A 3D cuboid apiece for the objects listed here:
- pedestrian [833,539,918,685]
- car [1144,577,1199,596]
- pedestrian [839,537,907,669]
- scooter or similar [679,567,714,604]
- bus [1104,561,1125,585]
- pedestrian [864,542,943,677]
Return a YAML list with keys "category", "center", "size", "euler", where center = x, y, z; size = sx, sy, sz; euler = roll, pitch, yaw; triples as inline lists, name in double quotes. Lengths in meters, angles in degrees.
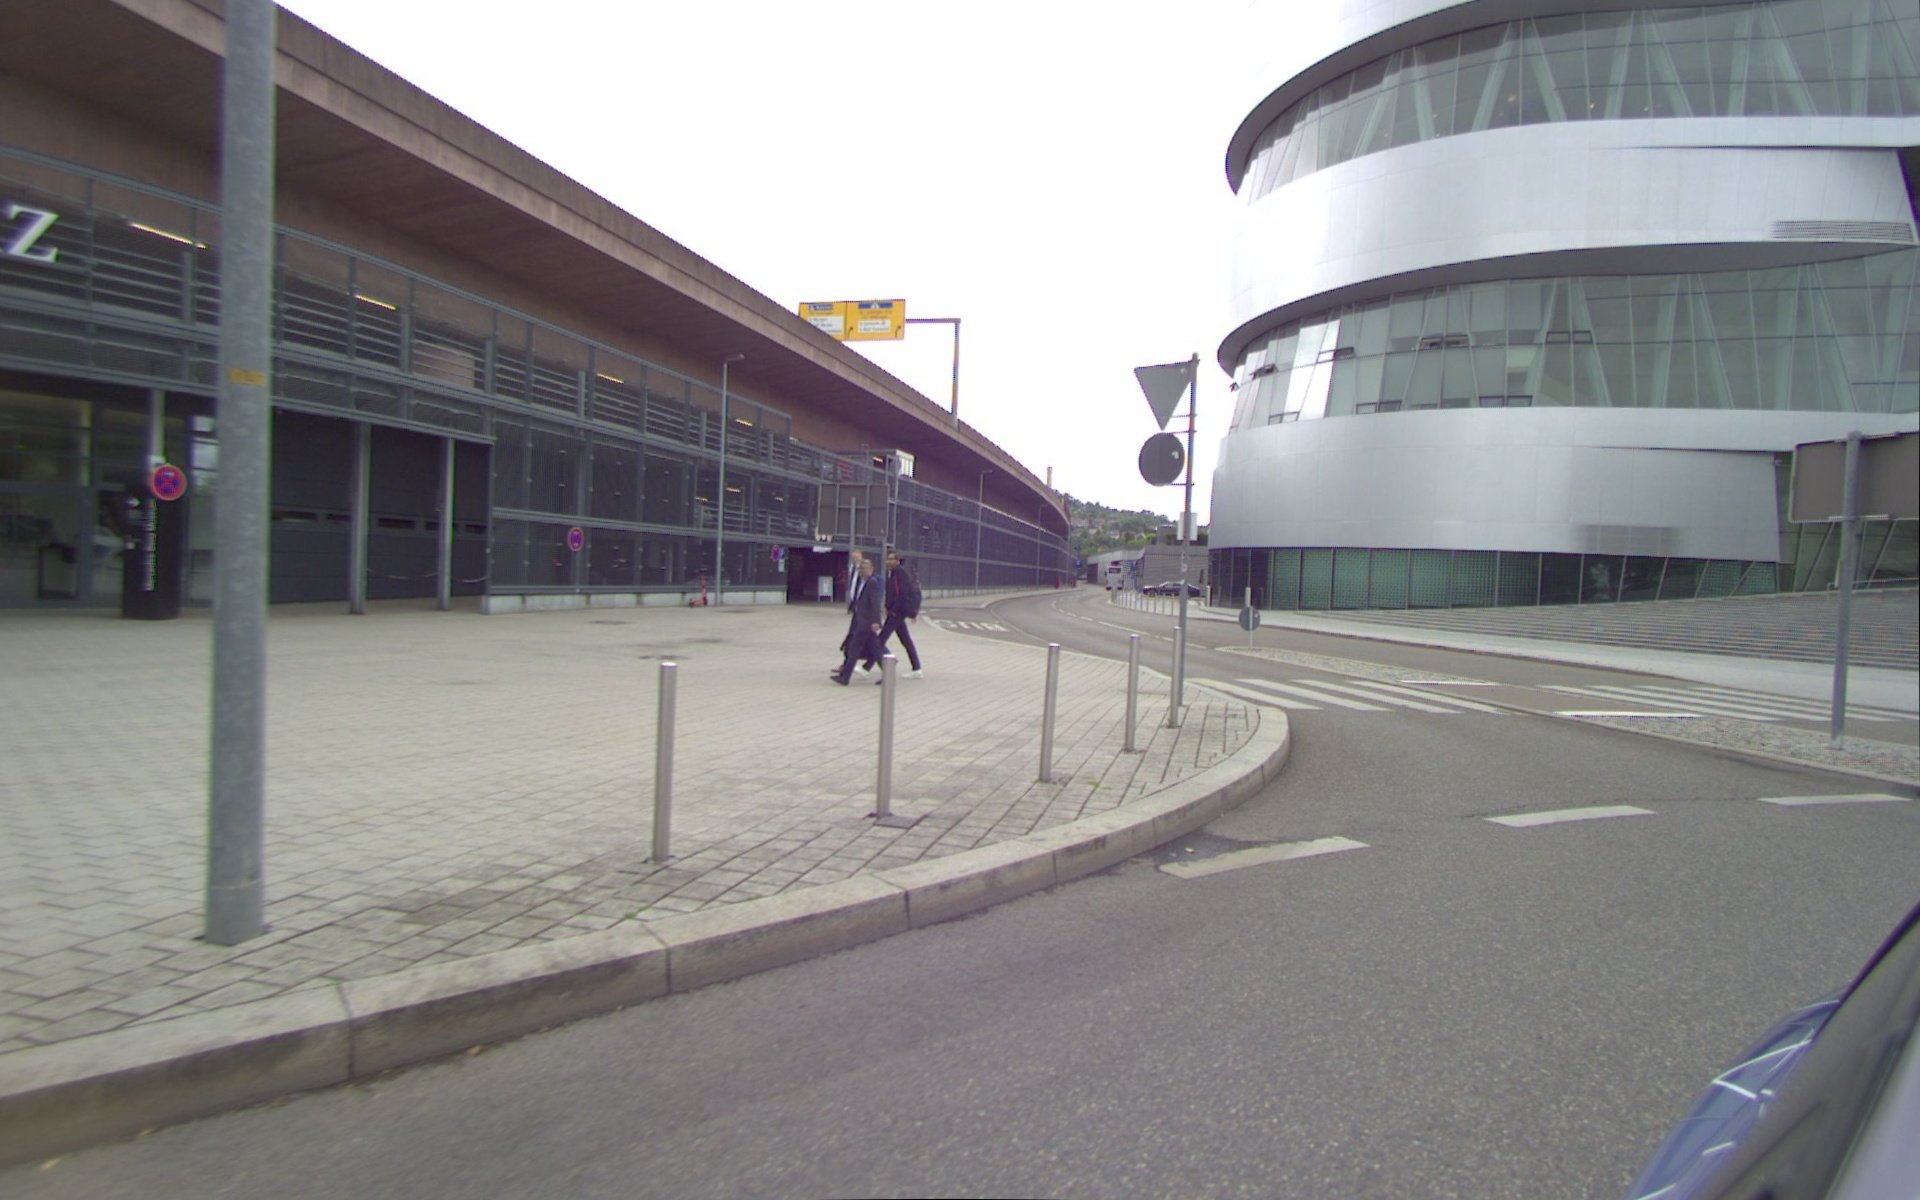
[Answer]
- category: "pedestrian"
  center: [-1.047, 0.135, 12.694]
  size: [0.761, 1.726, 0.862]
  euler: [3, 0, 14]
- category: "car"
  center: [19.091, -1.245, 91.381]
  size: [4.835, 1.415, 1.529]
  euler: [3, 1, 14]
- category: "pedestrian"
  center: [-1.247, 0.037, 14.685]
  size: [0.769, 1.821, 0.864]
  euler: [3, 0, 5]
- category: "scooter or similar"
  center: [-8.455, -0.465, 32.470]
  size: [0.376, 1.137, 1.421]
  euler: [3, 1, 15]
- category: "bus"
  center: [23.730, -4.113, 155.290]
  size: [2.885, 3.484, 6.948]
  euler: [3, 1, 9]
- category: "pedestrian"
  center: [-0.752, 0.119, 13.701]
  size: [0.762, 1.726, 0.782]
  euler: [3, 0, 18]
